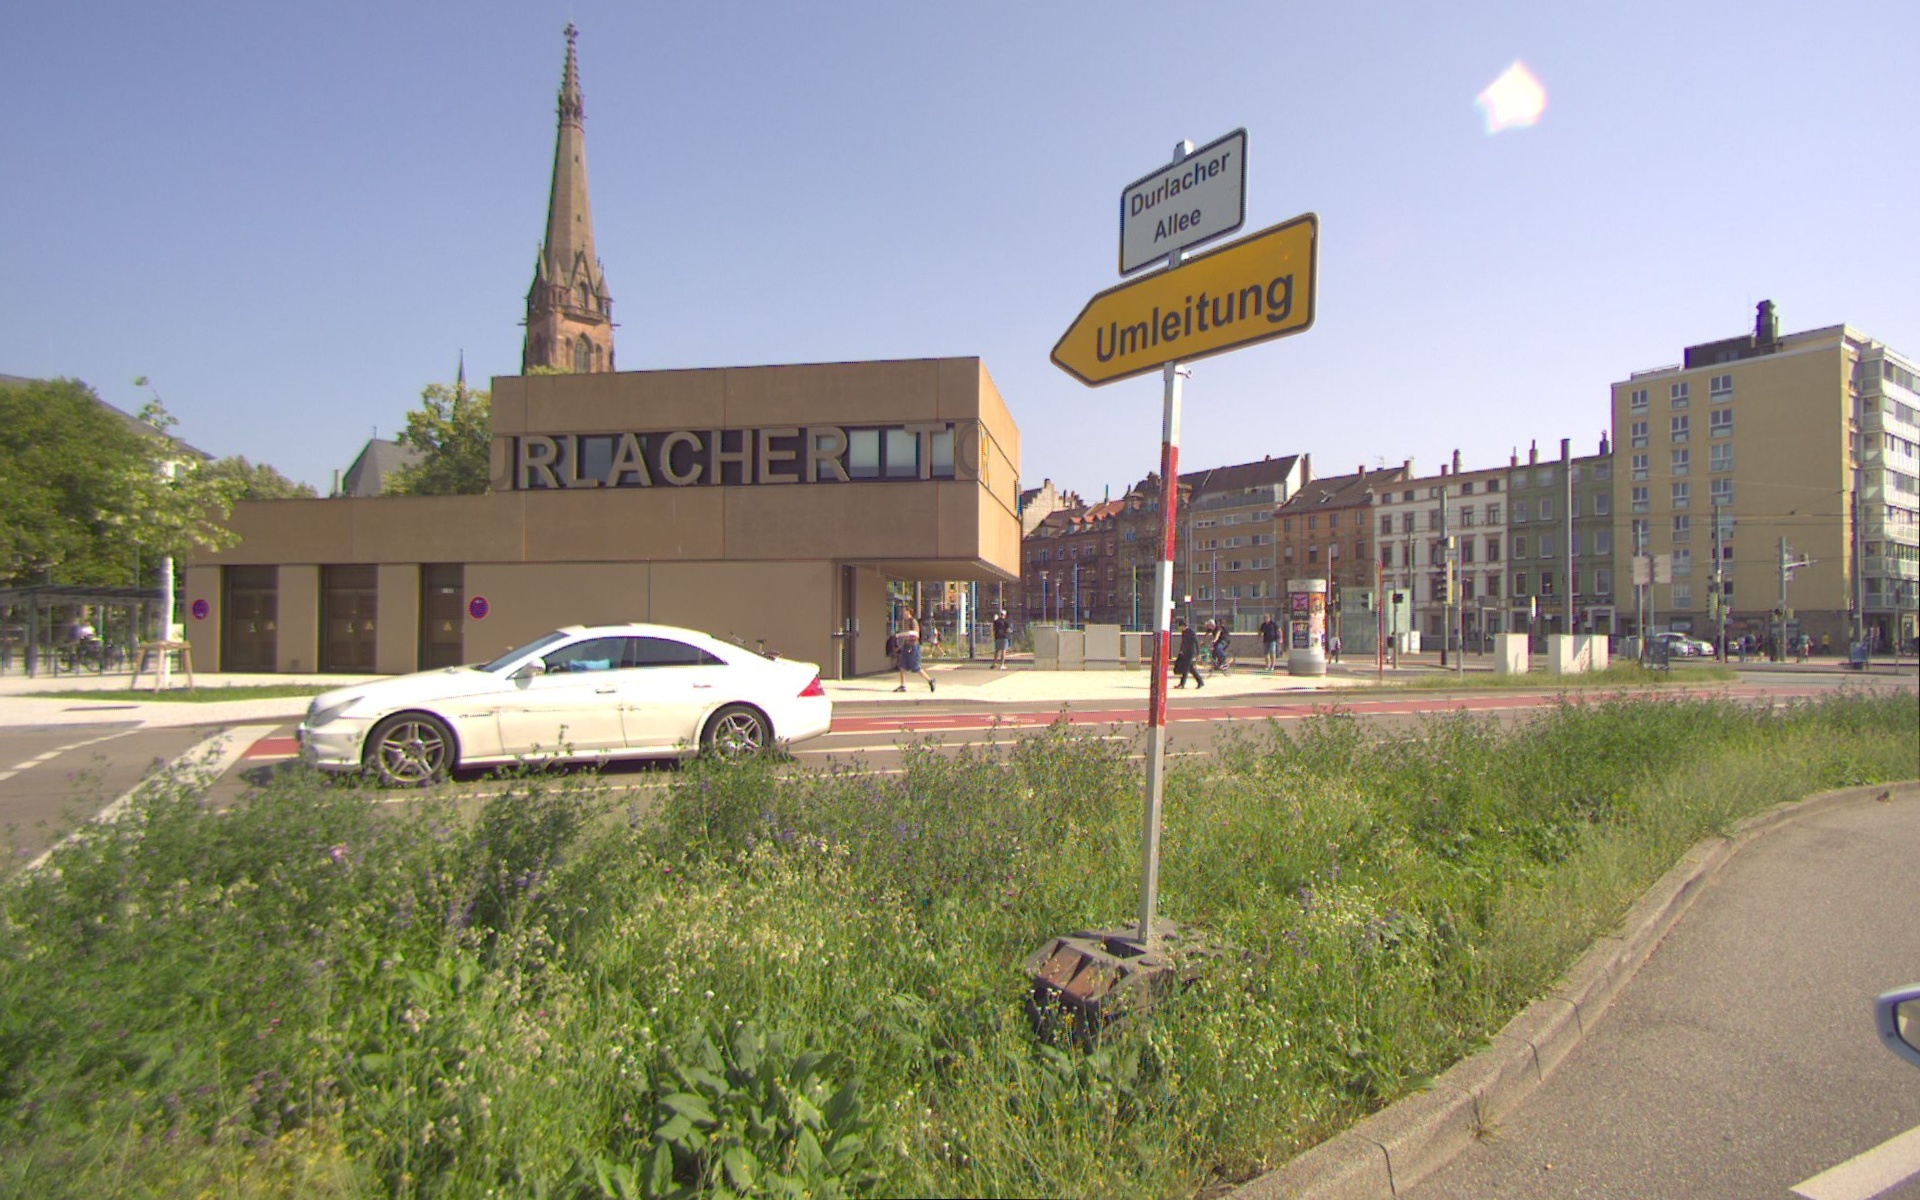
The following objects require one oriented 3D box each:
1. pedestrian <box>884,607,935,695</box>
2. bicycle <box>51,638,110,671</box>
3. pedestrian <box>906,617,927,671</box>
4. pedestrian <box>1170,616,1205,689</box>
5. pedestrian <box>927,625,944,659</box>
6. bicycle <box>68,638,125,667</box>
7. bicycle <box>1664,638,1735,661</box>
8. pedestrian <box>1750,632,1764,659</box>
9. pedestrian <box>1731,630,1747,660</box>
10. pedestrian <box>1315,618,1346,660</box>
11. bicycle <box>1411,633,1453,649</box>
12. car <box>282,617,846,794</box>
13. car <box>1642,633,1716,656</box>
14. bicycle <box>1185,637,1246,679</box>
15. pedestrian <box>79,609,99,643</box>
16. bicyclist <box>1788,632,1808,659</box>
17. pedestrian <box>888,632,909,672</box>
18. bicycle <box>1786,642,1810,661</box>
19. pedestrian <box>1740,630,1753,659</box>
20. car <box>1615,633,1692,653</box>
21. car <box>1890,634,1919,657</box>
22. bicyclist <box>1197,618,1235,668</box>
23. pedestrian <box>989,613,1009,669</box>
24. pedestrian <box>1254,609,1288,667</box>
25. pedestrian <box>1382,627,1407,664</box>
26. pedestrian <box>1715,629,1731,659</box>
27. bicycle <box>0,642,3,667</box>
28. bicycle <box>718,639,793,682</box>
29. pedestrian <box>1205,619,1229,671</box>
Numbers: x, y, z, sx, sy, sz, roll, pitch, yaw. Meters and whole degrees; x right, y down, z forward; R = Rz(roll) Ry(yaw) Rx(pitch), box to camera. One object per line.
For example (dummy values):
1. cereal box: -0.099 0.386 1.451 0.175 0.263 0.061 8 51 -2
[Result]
1. pedestrian: -1.054 1.057 21.040 0.668 1.783 0.876 0 -1 35
2. bicycle: -27.400 1.685 31.281 1.710 1.022 0.401 0 -2 11
3. pedestrian: -1.434 1.444 33.119 0.595 1.718 0.533 -2 0 0
4. pedestrian: 5.808 1.336 25.619 0.831 1.802 0.877 -2 0 14
5. pedestrian: -1.168 1.980 47.271 0.783 1.612 0.691 0 -1 -4
6. bicycle: -30.571 1.853 35.561 1.837 1.022 0.462 0 -2 11
7. bicycle: 53.315 3.540 72.454 1.184 1.572 3.961 -2 0 -35
8. pedestrian: 46.406 2.654 58.477 0.489 1.507 0.440 -2 0 18
9. pedestrian: 44.994 2.600 58.021 0.539 1.707 0.453 -2 0 -22
10. pedestrian: 18.366 1.929 49.790 1.011 2.040 0.952 -2 0 -34
11. bicycle: 42.114 3.621 89.645 0.766 1.366 3.507 -2 0 -35
12. car: -3.697 0.931 9.932 4.759 1.379 1.834 2 -1 -28
13. car: 47.559 2.917 66.503 1.570 1.411 3.716 1 -2 -33
14. bicycle: 7.359 1.659 28.903 1.829 1.078 0.559 -2 1 -30
15. pedestrian: -44.912 1.346 51.776 0.383 1.771 0.713 -1 -2 43
16. bicyclist: 47.049 2.548 56.391 0.684 1.453 0.720 1 -2 -38
17. pedestrian: -1.845 1.558 30.092 0.513 1.187 0.596 0 -2 9
18. bicycle: 47.065 2.879 56.404 1.717 0.997 0.722 2 -2 -38
19. pedestrian: 45.924 2.600 58.638 0.447 1.707 0.440 -2 0 18
20. car: 44.710 2.751 64.799 1.558 1.195 3.811 4 -3 -30
21. car: 69.447 3.245 71.883 1.849 1.578 3.964 -2 0 -33
22. bicyclist: 7.363 1.227 28.903 0.873 1.380 0.559 -2 0 -30
23. pedestrian: 1.294 1.352 33.206 0.547 1.843 0.392 -2 0 -8
24. pedestrian: 10.312 1.254 33.327 0.866 1.843 0.894 -2 0 30
25. pedestrian: 21.856 2.285 50.535 0.770 1.843 0.828 3 -2 -34
26. pedestrian: 44.324 2.549 58.350 0.537 1.707 0.455 -2 0 -9
27. bicycle: -35.388 1.952 36.237 1.556 0.904 0.410 0 -2 11
28. bicycle: -4.810 1.419 23.671 1.580 0.968 0.661 0 0 9
29. pedestrian: 8.006 1.390 31.244 0.500 1.601 0.497 -2 0 -19
